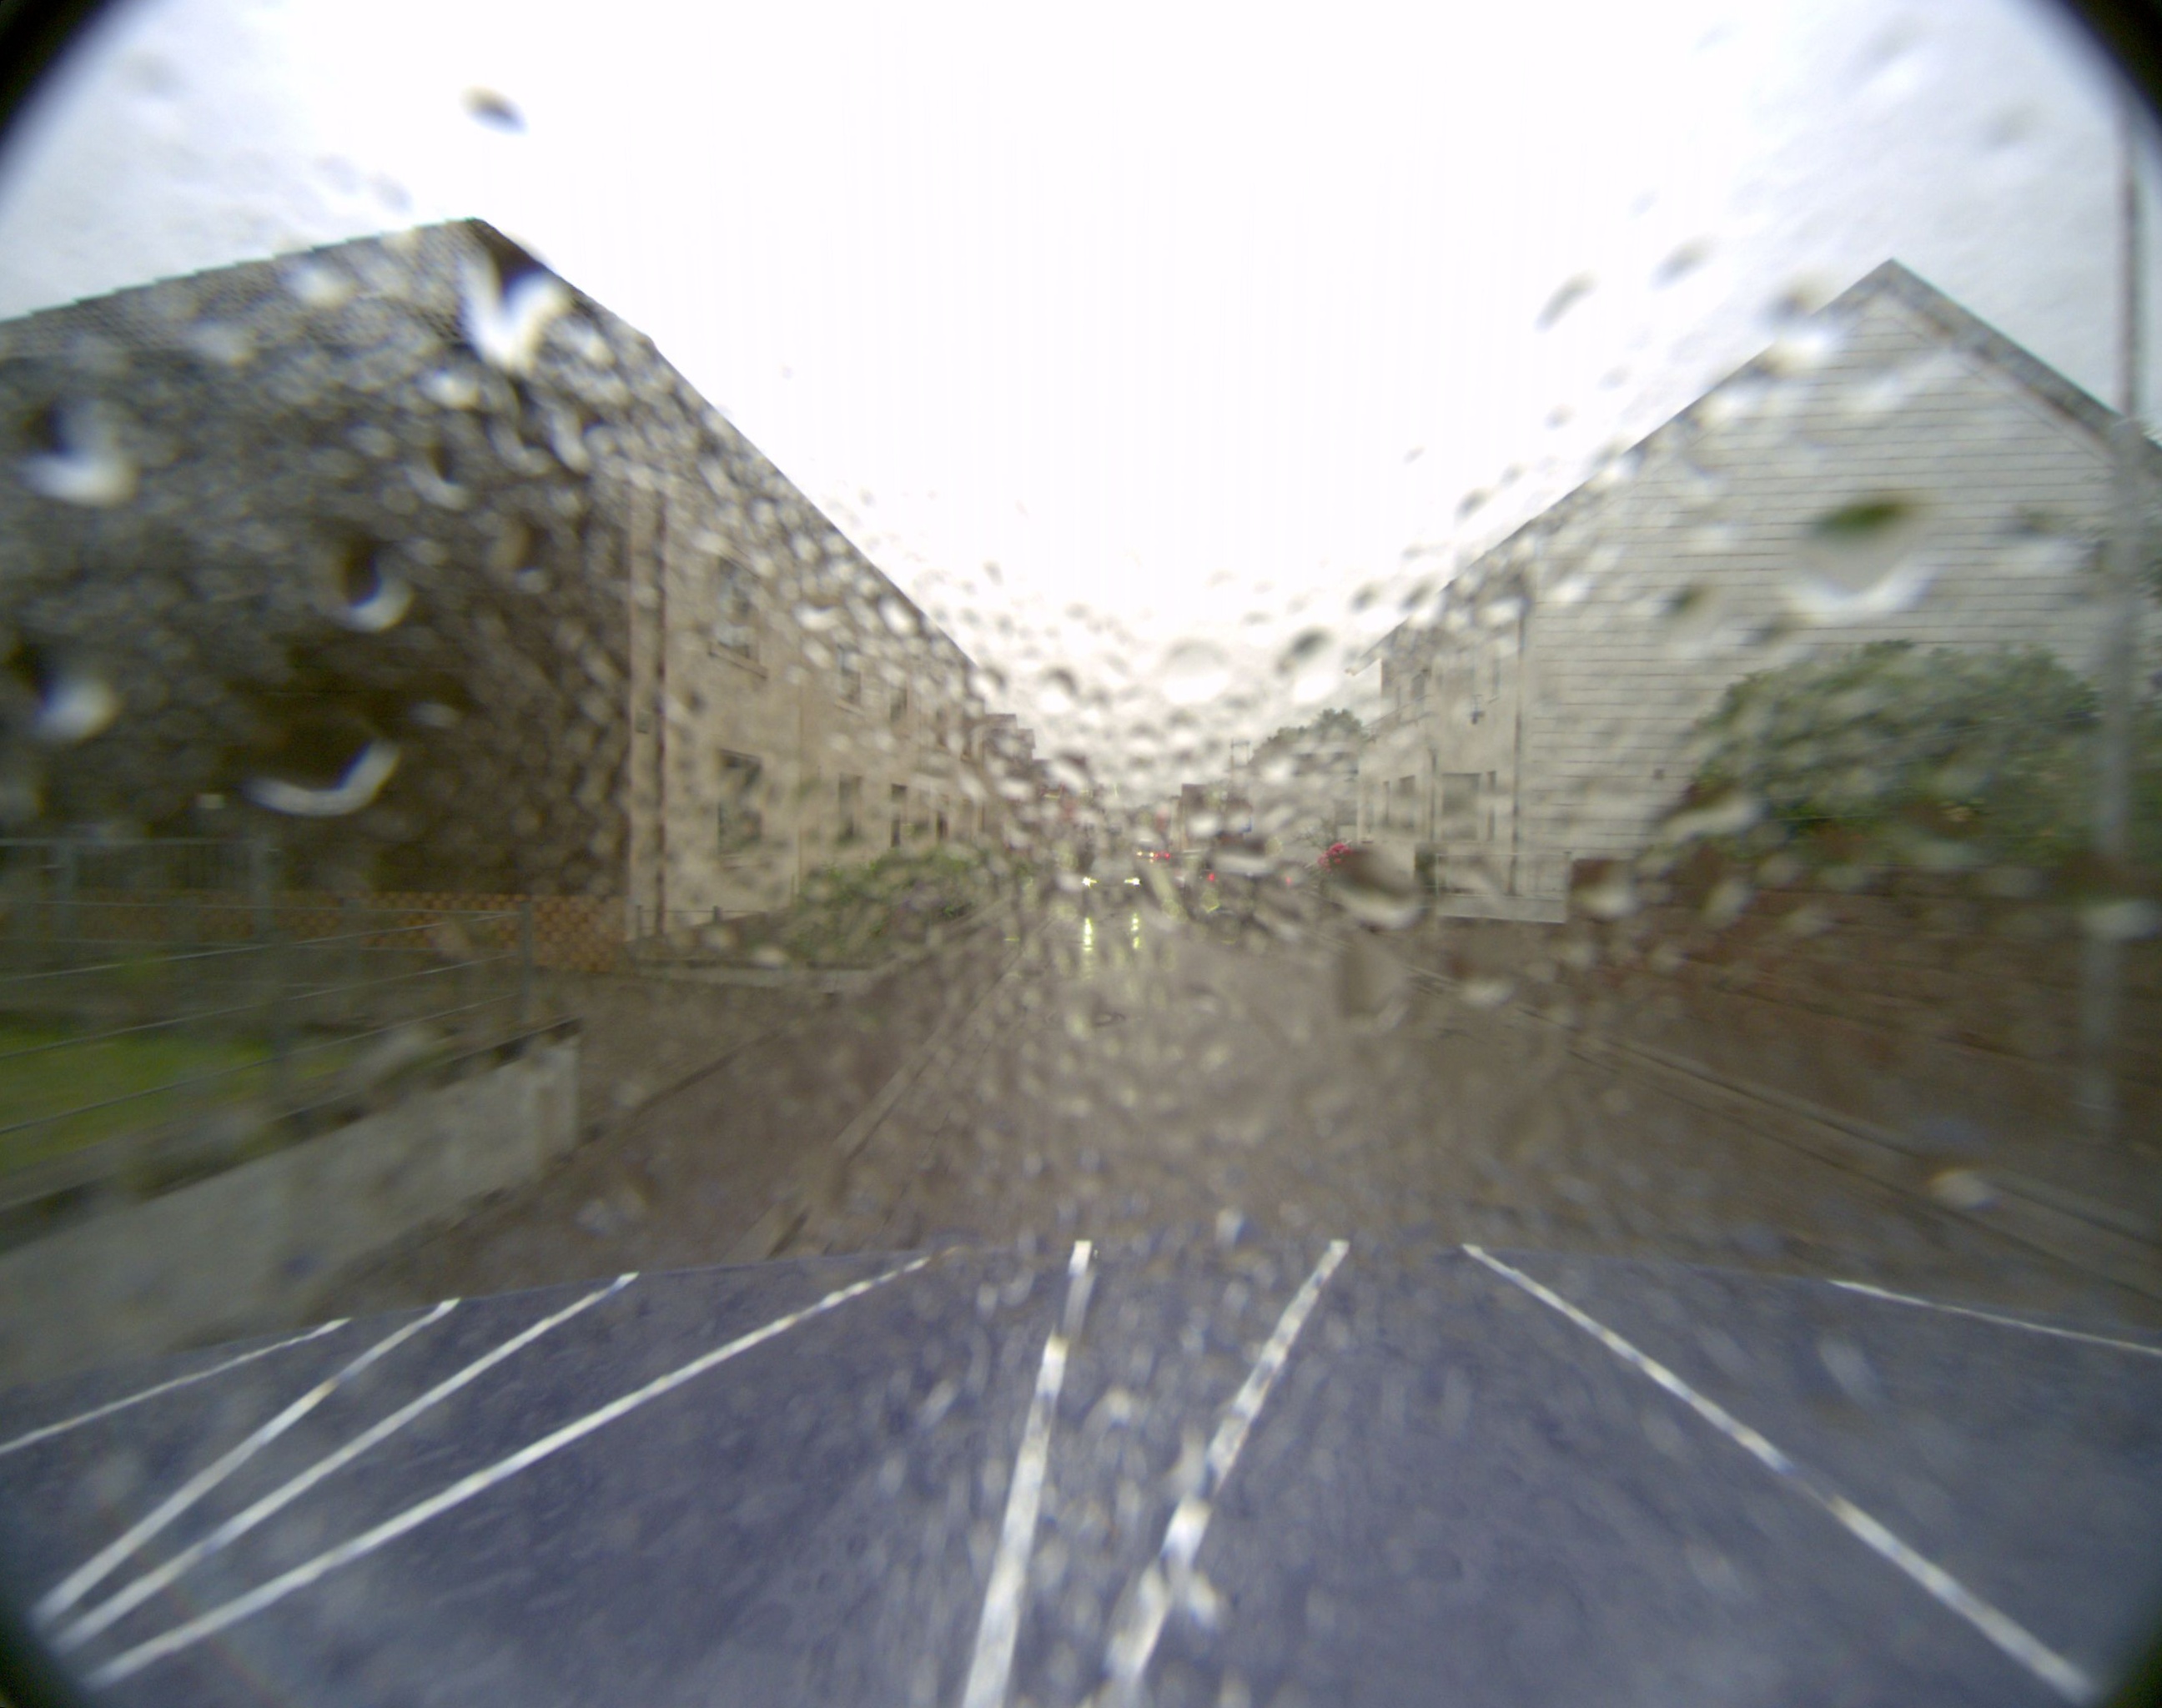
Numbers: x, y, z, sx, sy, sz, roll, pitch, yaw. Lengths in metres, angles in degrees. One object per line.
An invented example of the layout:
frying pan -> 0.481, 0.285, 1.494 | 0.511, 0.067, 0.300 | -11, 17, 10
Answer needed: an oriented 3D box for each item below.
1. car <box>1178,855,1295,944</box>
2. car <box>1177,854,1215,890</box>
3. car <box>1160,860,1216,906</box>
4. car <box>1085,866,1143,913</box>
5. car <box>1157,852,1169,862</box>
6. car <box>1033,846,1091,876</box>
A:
car -> 3.494, 0.935, 18.079 | 1.838, 1.663, 5.197 | 1, 1, 2
car -> 5.923, 0.871, 39.342 | 1.815, 1.674, 4.185 | 1, 1, 7
car -> 3.819, 1.005, 27.580 | 1.583, 1.472, 3.716 | 2, 0, 2
car -> 0.977, 1.069, 24.016 | 1.667, 1.290, 3.518 | -2, 0, 0
car -> 12.957, 0.455, 119.649 | 1.859, 1.497, 4.163 | 1, 1, 6
car -> -1.159, 0.388, 44.305 | 1.893, 1.566, 3.883 | -3, 1, -25
